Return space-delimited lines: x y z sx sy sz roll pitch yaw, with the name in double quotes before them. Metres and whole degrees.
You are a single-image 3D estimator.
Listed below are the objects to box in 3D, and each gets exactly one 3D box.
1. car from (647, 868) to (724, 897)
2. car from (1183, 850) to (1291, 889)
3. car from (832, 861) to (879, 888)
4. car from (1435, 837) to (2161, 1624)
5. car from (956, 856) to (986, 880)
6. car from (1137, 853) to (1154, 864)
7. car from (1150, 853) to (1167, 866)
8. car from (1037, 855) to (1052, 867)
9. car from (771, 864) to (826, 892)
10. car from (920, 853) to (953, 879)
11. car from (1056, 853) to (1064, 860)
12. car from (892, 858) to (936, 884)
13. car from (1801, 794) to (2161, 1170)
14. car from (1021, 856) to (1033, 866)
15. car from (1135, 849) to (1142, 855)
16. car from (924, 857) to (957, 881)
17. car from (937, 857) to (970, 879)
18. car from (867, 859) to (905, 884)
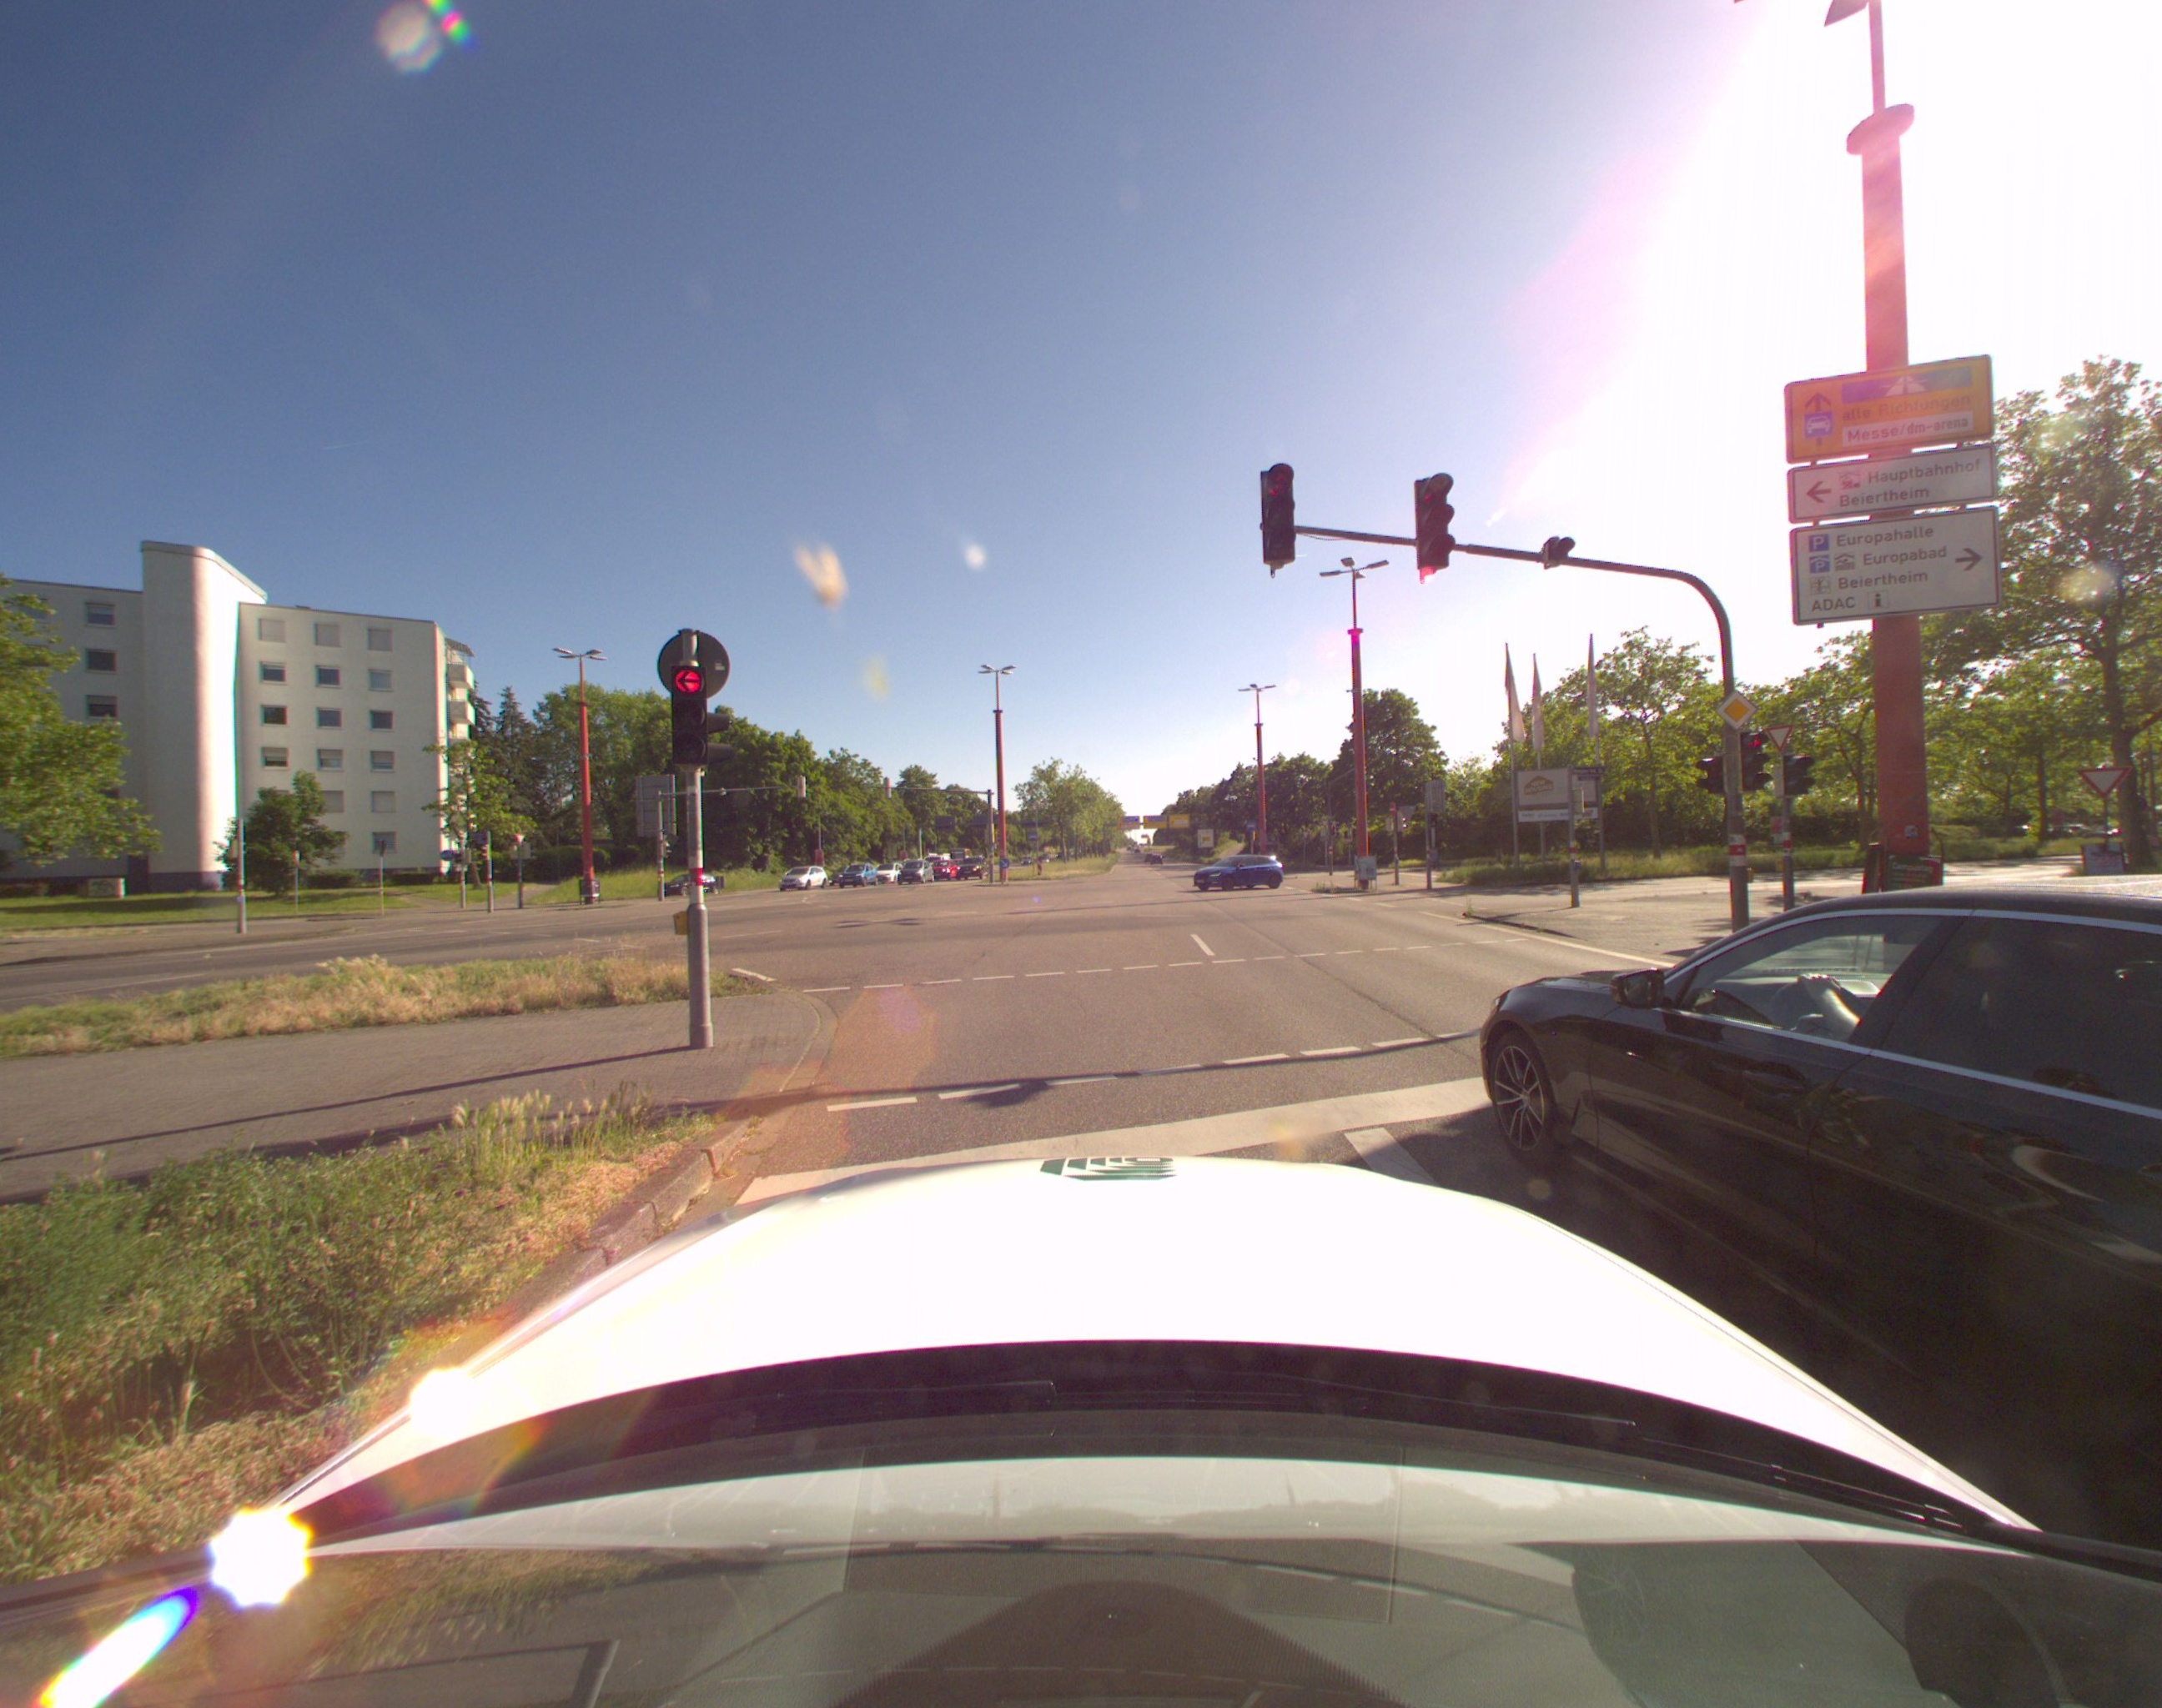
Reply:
"car" -24.450 1.754 50.547 1.979 1.598 4.238 -2 0 14
"car" 6.582 0.631 34.225 4.295 1.428 1.865 -2 0 -31
"car" -14.233 1.285 51.641 1.989 1.573 4.116 -2 0 -3
"car" 2.955 0.665 2.373 1.986 1.394 4.479 -2 0 2
"car" -7.563 0.940 56.490 1.874 1.573 4.112 -2 0 -6
"car" 10.434 0.699 131.987 2.154 1.573 4.578 -2 0 -2
"car" 10.567 0.752 111.146 2.149 1.573 4.286 -2 0 5
"car" -4.963 0.947 111.389 1.872 1.573 4.117 -2 0 -2
"car" -17.690 1.468 51.181 1.987 1.573 4.120 -2 0 0
"car" -12.731 1.056 71.986 2.055 2.193 4.377 -2 0 0
"car" -5.136 0.693 202.438 1.872 1.573 4.117 -2 0 -2
"car" -10.729 1.047 52.580 1.988 1.573 4.119 -2 0 -1
"car" 5.801 0.560 3.261 1.959 1.686 4.479 -1 0 2
"car" -9.127 1.137 137.157 1.872 1.573 4.117 -2 0 -2
"car" 17.340 -0.624 246.580 2.149 1.573 4.285 -2 0 4
"car" -10.100 1.048 58.872 1.991 1.573 4.112 -2 0 -6
"car" -10.062 1.095 64.654 1.988 1.573 4.118 -2 0 -1
"car" -13.735 1.218 57.524 1.991 1.573 4.112 -3 0 -6
